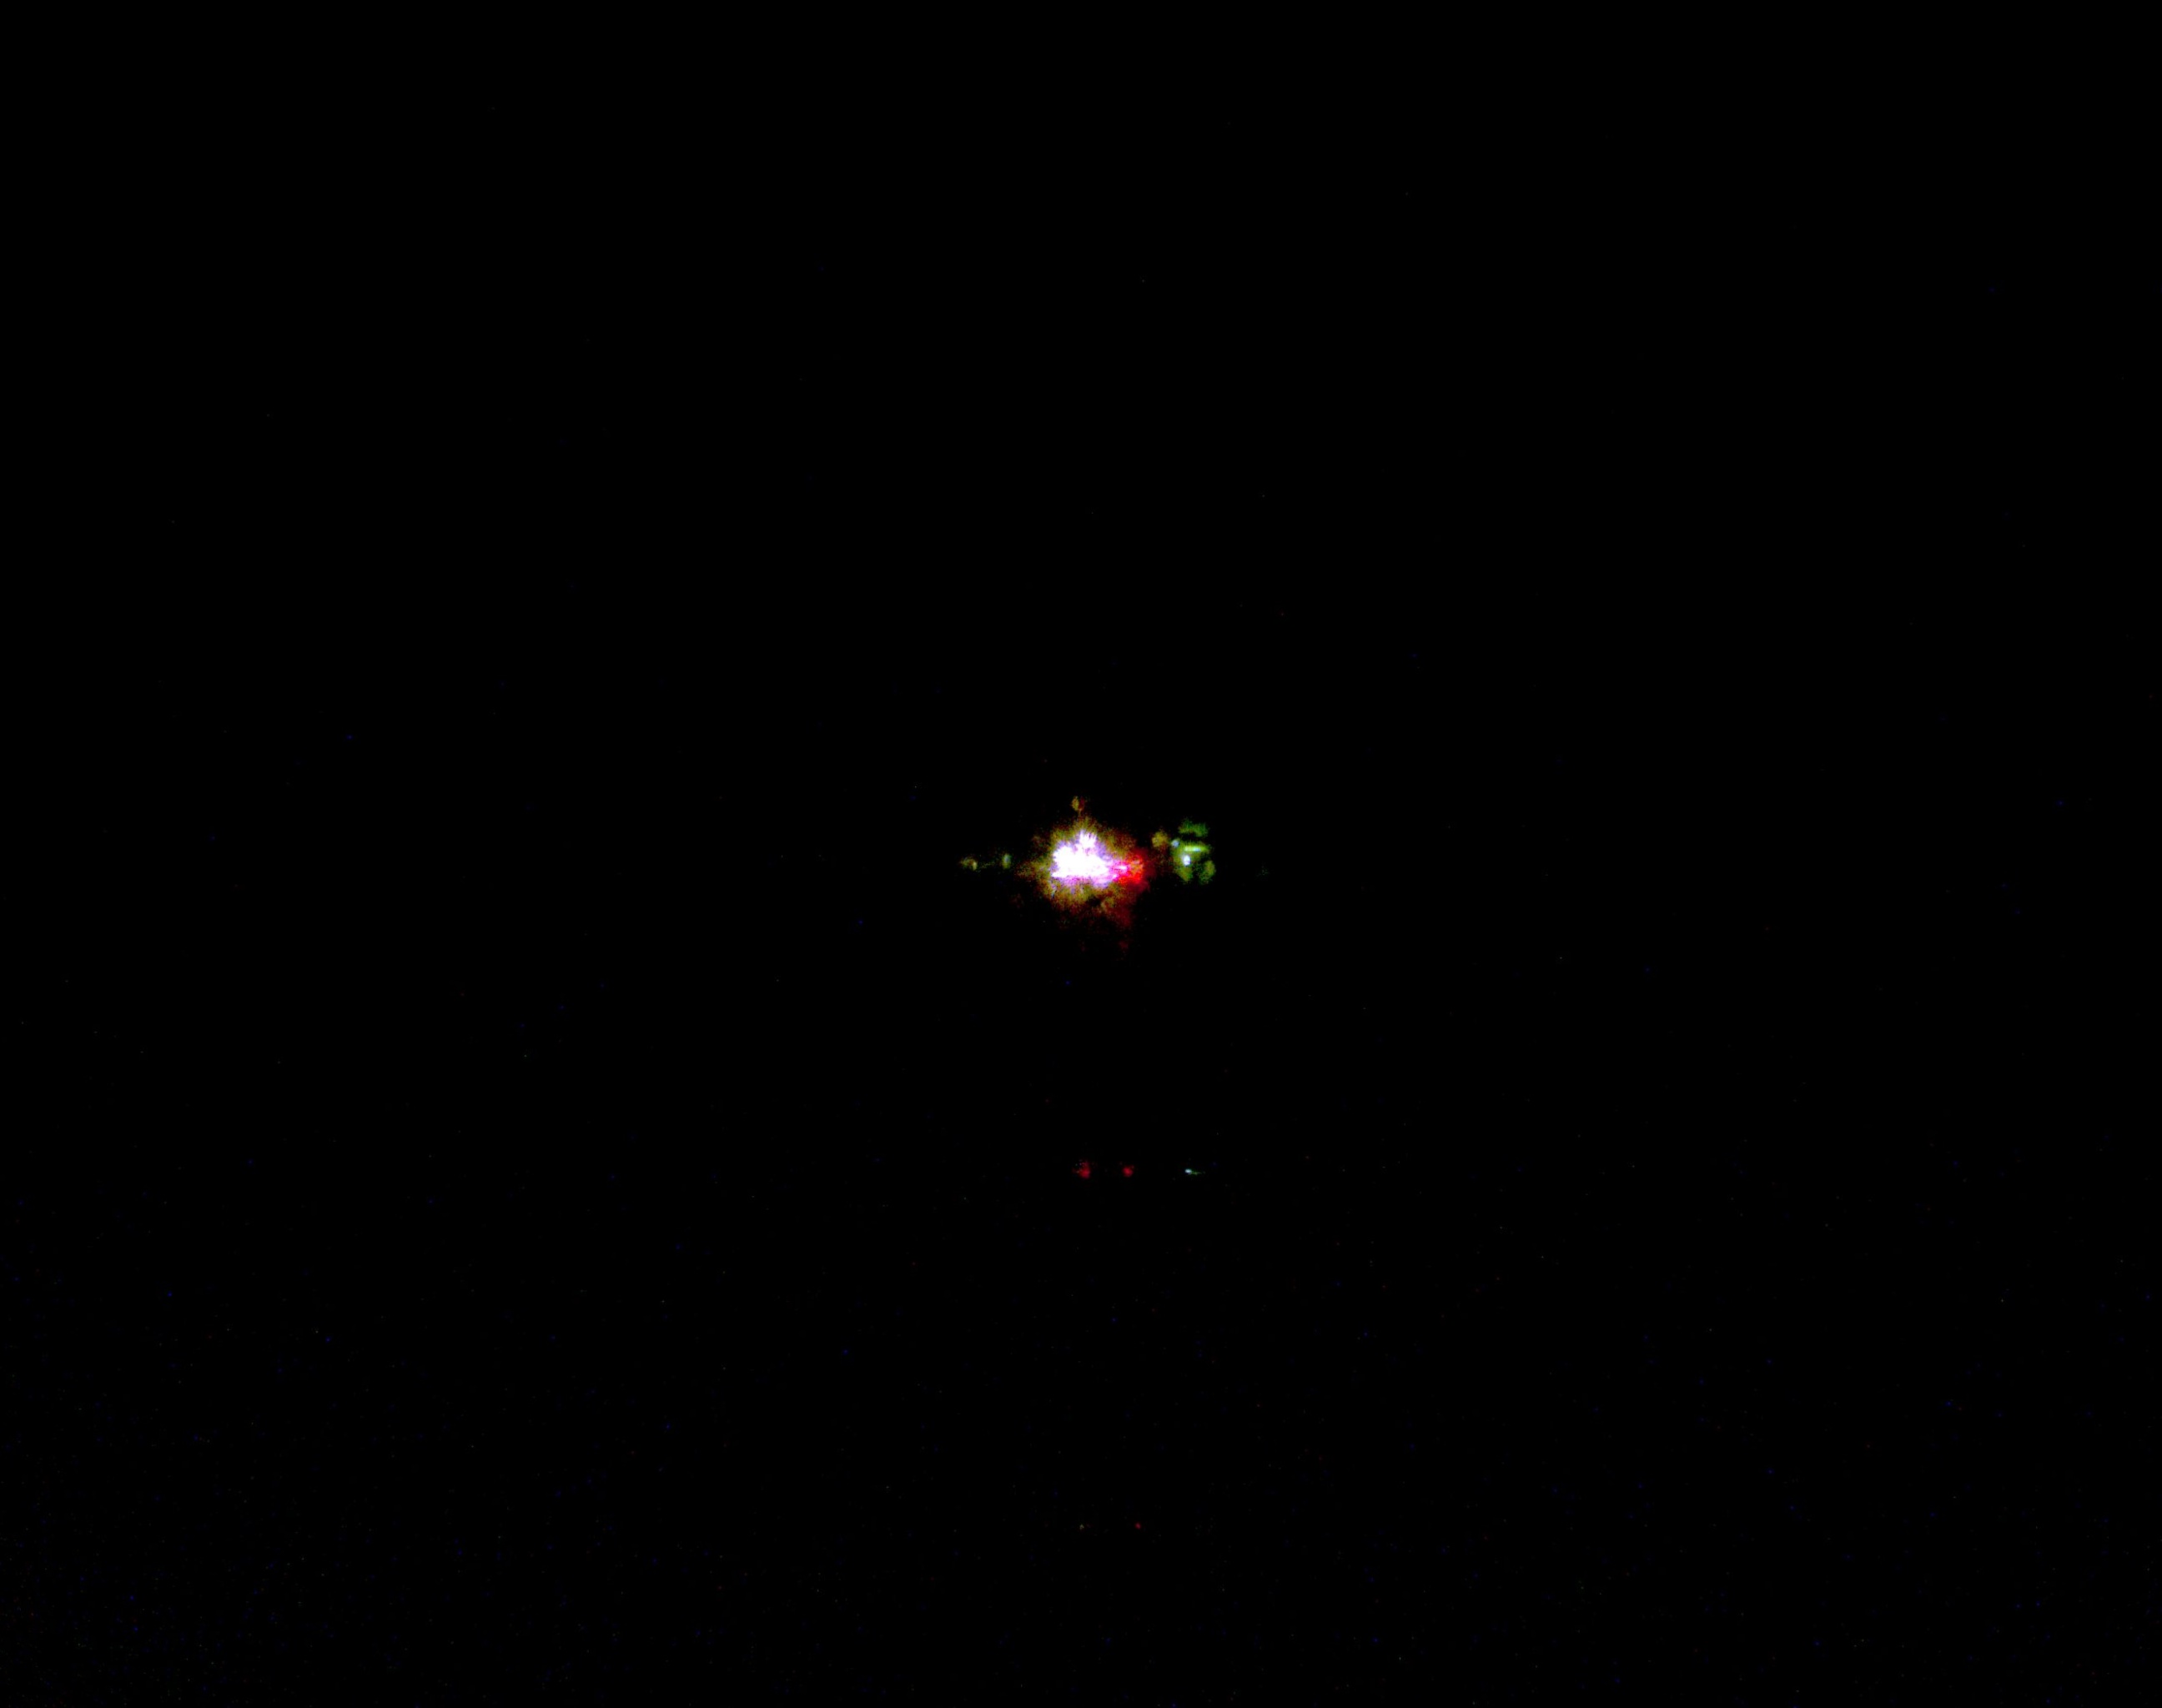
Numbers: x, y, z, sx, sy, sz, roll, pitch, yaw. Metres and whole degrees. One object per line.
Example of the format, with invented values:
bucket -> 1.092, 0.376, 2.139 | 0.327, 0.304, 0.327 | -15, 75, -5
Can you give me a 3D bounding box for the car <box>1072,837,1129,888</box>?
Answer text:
car -> 0.611, 0.276, 28.052 | 1.803, 1.622, 3.999 | -1, 0, 0
